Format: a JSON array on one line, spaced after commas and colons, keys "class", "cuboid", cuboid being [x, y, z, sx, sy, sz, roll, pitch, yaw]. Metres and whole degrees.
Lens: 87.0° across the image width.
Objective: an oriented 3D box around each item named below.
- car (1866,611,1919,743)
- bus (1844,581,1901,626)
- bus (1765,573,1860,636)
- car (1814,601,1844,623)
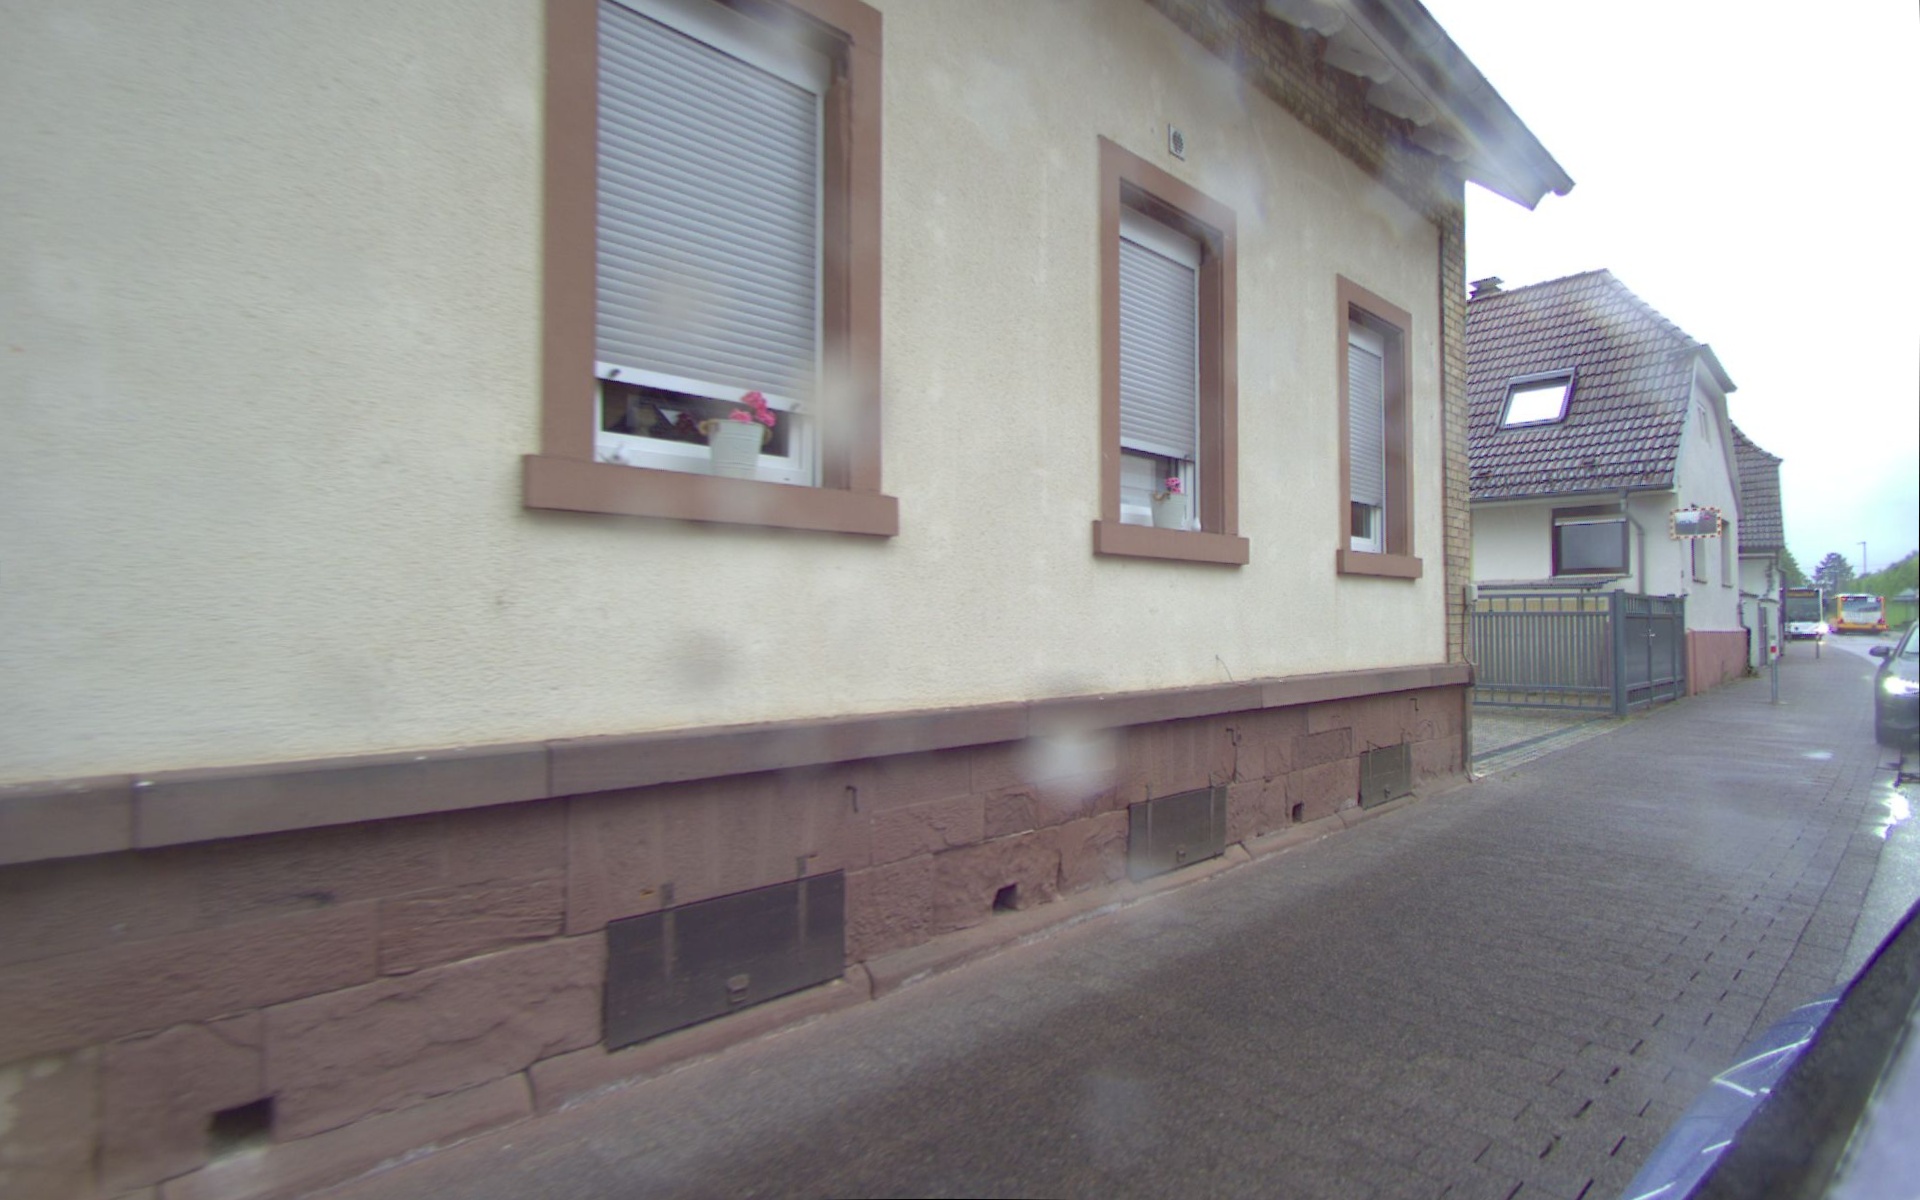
[{"class": "car", "cuboid": [11.948, 0.823, 11.820, 1.772, 1.374, 4.129, -1, -1, 39]}, {"class": "bus", "cuboid": [66.542, 0.320, 73.868, 2.804, 2.977, 11.758, -3, -3, 42]}, {"class": "bus", "cuboid": [52.124, 0.313, 62.237, 3.422, 3.455, 13.688, -2, -1, 36]}, {"class": "car", "cuboid": [86.904, 1.194, 101.228, 1.989, 2.039, 4.186, -3, -2, 38]}]
